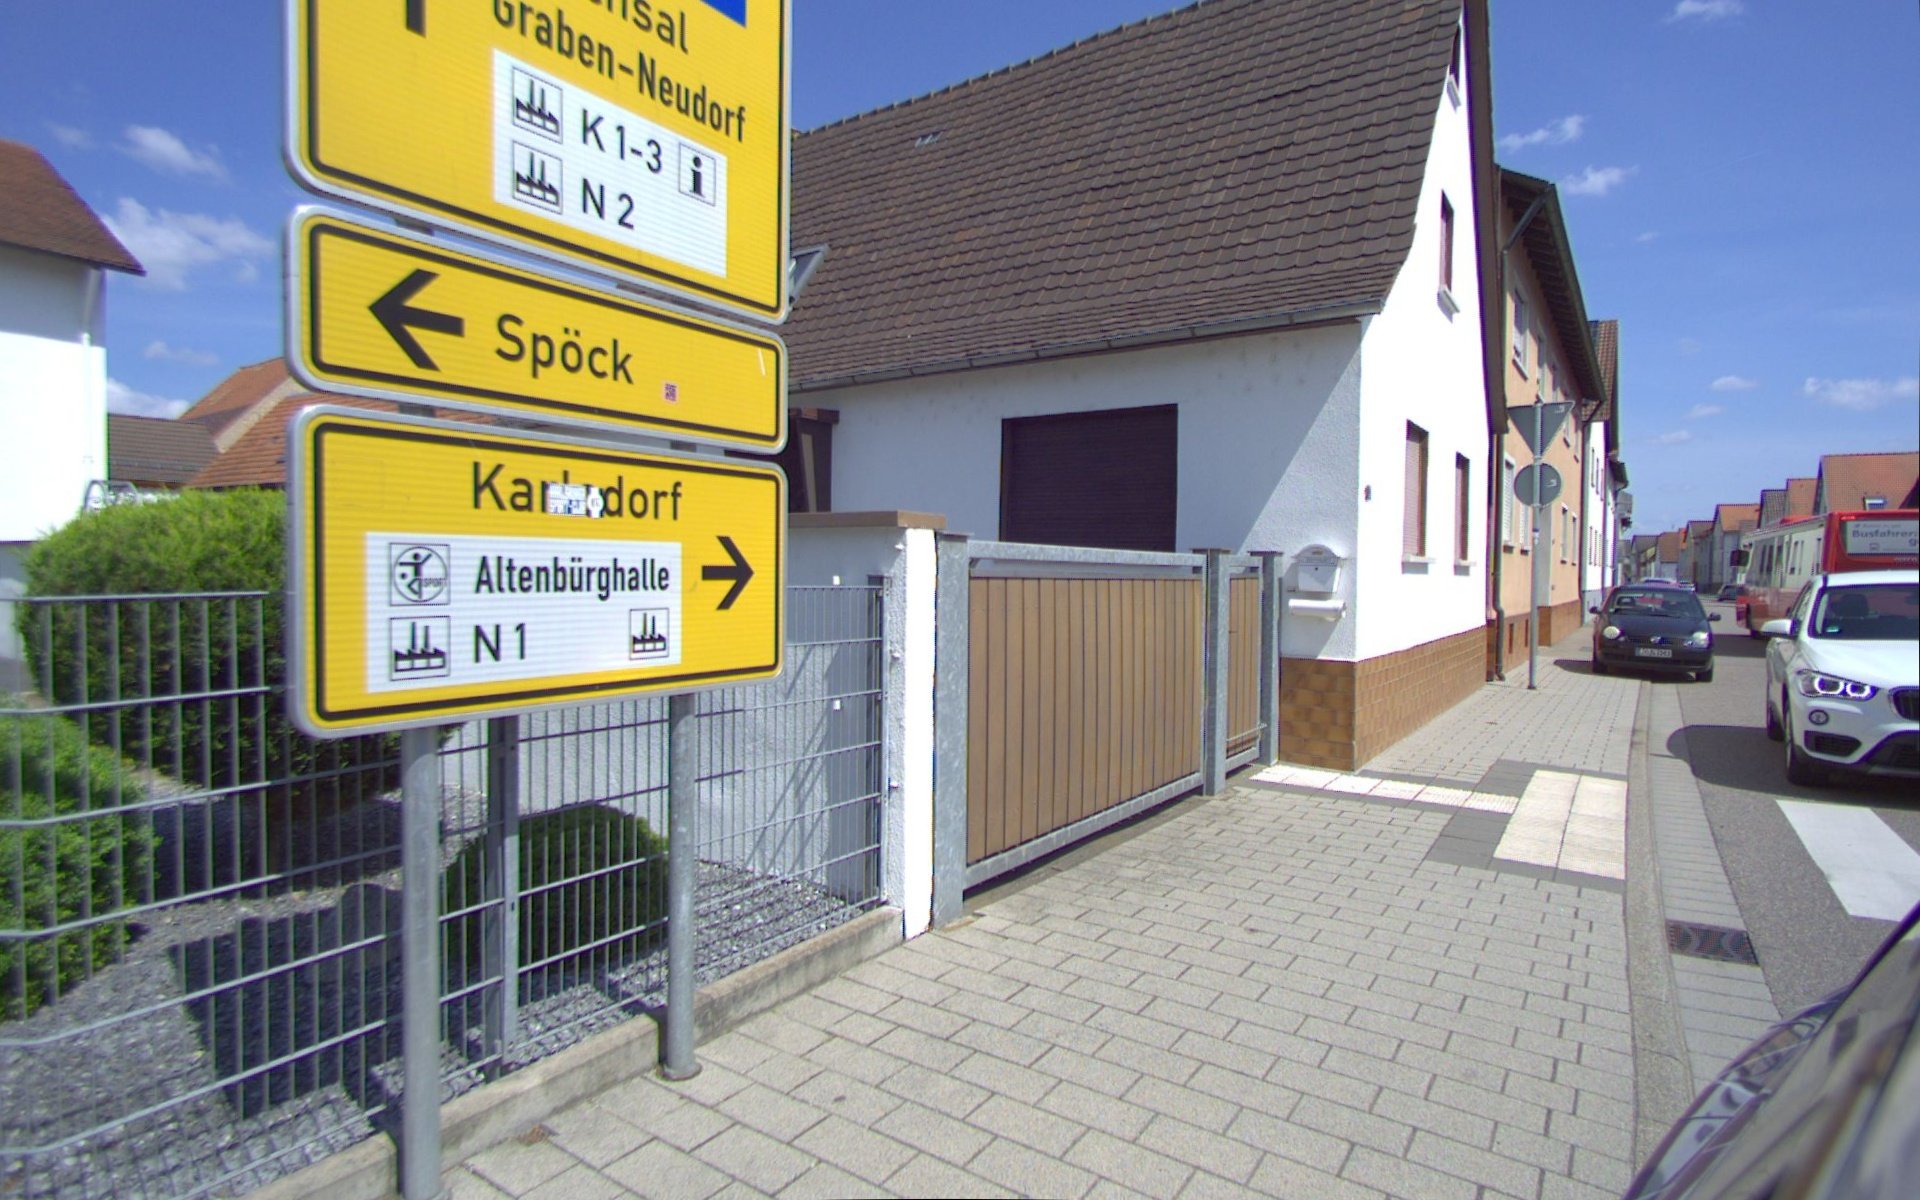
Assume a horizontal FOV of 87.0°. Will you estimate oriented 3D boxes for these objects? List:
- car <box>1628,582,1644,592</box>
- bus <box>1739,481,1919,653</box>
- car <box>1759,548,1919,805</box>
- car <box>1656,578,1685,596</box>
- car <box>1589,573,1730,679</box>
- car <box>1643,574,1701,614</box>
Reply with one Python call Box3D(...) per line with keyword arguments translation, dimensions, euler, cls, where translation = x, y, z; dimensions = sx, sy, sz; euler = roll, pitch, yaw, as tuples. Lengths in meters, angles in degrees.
Box3D(translation=(97.957, -1.890, 146.599), dimensions=(1.752, 1.446, 3.809), euler=(2, 2, 32), cls="car")
Box3D(translation=(21.253, -0.766, 24.294), dimensions=(2.615, 3.271, 11.889), euler=(3, 3, 31), cls="bus")
Box3D(translation=(7.768, 0.463, 8.135), dimensions=(1.834, 1.666, 4.319), euler=(-1, 0, 35), cls="car")
Box3D(translation=(61.912, -1.165, 88.206), dimensions=(1.752, 1.446, 4.142), euler=(2, 2, 32), cls="car")
Box3D(translation=(11.579, 0.347, 16.825), dimensions=(1.681, 1.481, 3.584), euler=(4, 3, 34), cls="car")
Box3D(translation=(27.849, -0.253, 39.674), dimensions=(1.754, 1.446, 4.137), euler=(2, 2, 34), cls="car")
